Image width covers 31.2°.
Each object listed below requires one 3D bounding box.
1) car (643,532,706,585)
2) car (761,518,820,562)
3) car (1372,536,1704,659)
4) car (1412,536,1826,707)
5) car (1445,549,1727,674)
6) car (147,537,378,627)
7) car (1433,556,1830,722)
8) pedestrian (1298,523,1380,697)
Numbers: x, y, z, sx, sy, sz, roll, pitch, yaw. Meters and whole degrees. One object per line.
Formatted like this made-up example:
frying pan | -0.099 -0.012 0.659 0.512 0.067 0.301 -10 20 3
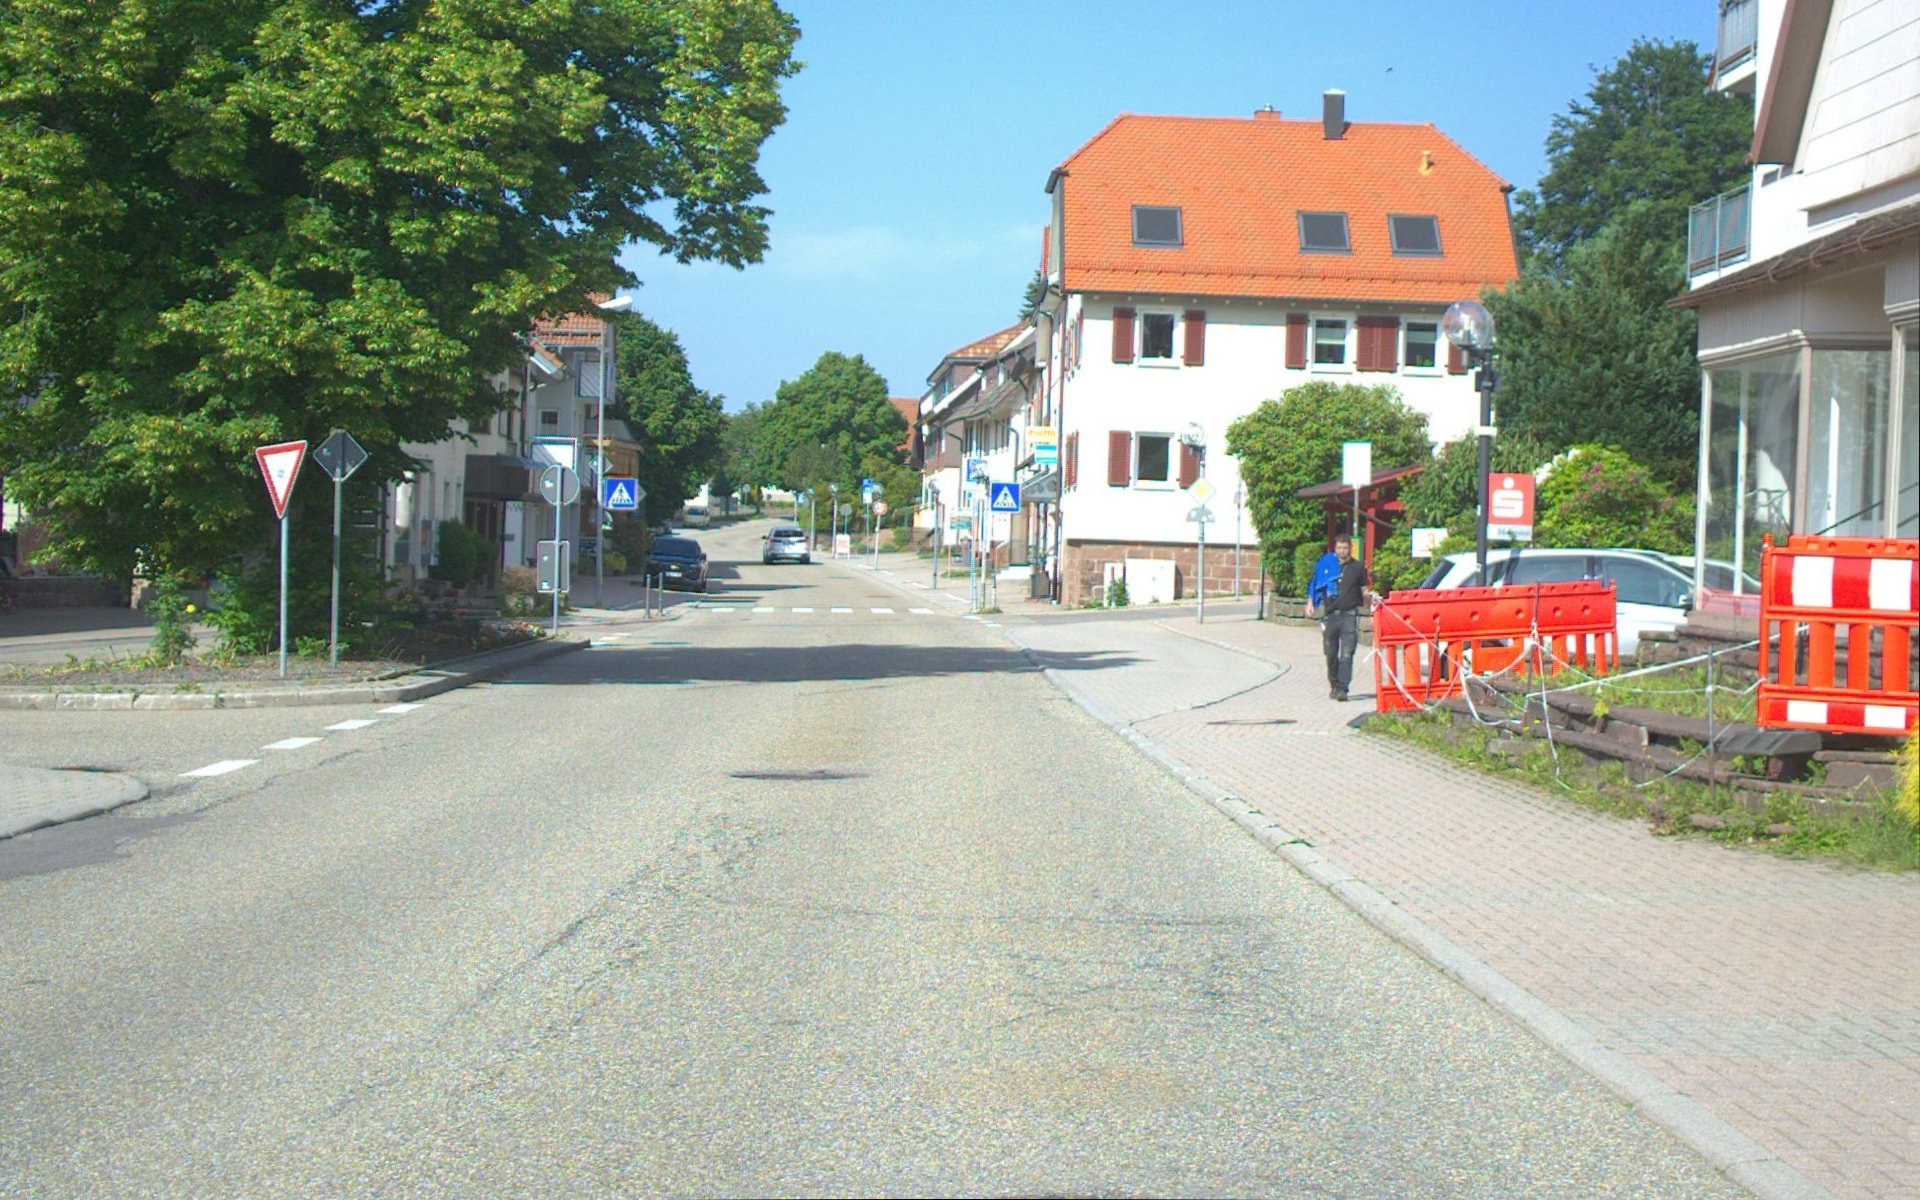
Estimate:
car | -9.055 -1.336 109.146 1.672 1.528 3.536 5 1 -2
car | -7.914 -2.789 160.229 2.495 2.007 4.305 -1 1 -5
car | 7.397 -0.050 44.274 3.987 1.543 1.881 0 1 1
car | 6.475 0.180 33.840 3.864 1.553 1.962 1 1 12
car | 7.491 0.128 41.372 3.234 1.464 1.628 0 1 6
car | -12.832 -0.322 63.351 3.761 1.449 1.816 -1 -4 11
car | 7.073 0.386 36.450 3.988 1.544 1.737 2 1 9
pedestrian | 3.920 0.095 35.603 0.799 1.778 0.979 0 1 4
